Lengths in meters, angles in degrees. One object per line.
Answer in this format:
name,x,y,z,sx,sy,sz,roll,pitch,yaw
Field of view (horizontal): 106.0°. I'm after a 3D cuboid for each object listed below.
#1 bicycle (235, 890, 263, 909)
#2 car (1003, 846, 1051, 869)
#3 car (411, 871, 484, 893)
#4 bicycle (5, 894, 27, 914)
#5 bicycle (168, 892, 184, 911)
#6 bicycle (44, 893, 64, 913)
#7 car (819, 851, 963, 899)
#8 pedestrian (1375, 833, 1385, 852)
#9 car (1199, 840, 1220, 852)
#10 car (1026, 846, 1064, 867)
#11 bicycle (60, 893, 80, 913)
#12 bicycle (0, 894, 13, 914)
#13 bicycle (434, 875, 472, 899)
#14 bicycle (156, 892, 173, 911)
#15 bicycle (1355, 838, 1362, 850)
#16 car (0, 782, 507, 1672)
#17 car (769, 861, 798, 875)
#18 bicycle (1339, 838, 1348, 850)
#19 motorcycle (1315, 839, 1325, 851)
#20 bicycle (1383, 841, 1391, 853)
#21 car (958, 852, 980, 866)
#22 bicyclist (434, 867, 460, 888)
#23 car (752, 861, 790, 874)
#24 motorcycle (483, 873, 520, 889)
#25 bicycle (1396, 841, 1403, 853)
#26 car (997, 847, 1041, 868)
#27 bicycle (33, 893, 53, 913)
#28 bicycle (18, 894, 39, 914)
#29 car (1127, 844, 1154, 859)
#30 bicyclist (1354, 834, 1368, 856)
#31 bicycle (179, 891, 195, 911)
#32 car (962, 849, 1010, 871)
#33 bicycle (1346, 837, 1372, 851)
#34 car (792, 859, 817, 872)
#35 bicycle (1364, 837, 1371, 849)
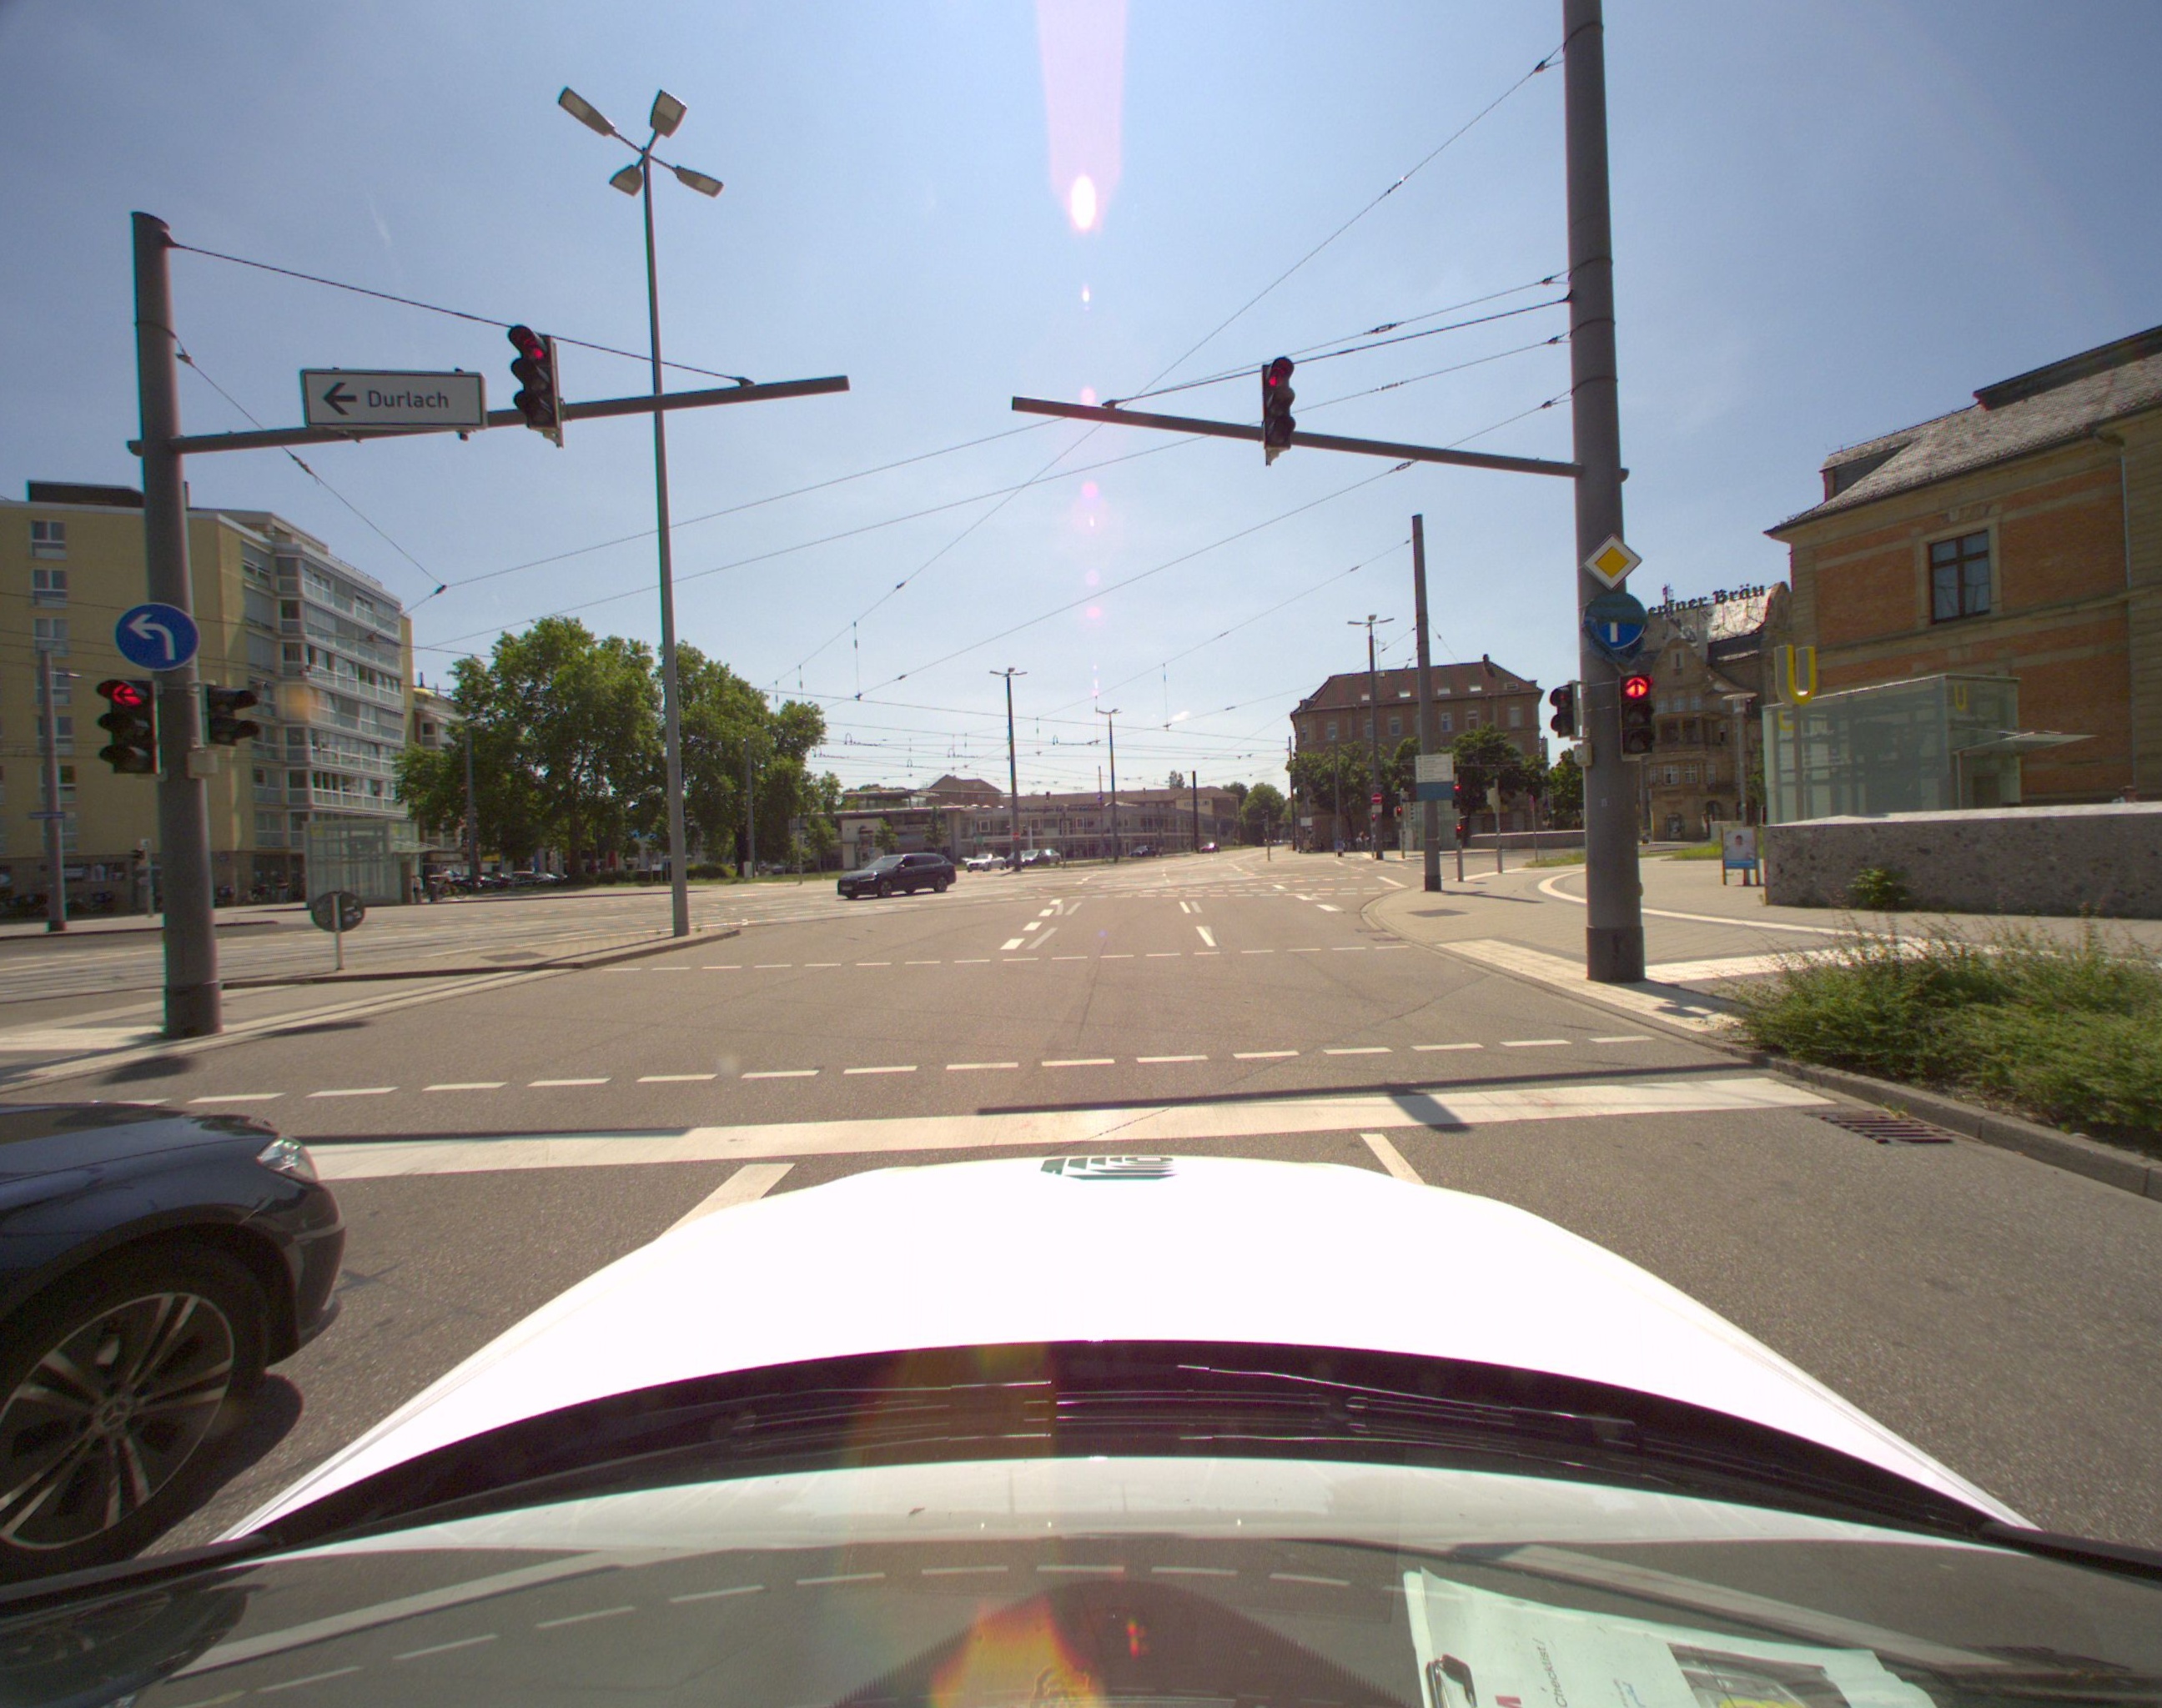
bicycle,-49.285,2.669,48.266,0.432,1.026,1.437,-2,0,-14
car,-4.248,0.223,64.836,1.977,1.637,4.870,-2,0,19
car,-49.215,2.175,63.342,3.995,1.420,1.989,-2,0,-16
bicycle,-57.868,2.697,44.264,0.435,1.026,1.426,-2,0,-42
bicycle,-51.235,2.665,46.103,0.435,1.026,1.426,-2,0,-42
bicycle,-56.419,2.691,44.733,0.435,1.026,1.426,-2,0,-42
car,-6.739,0.701,29.353,1.974,1.465,4.877,-2,0,36
pedestrian,26.322,-0.998,71.796,0.462,1.708,0.636,-2,0,-20
car,19.096,-1.176,120.967,1.975,1.776,4.024,-1,-1,27
car,-3.338,0.209,77.162,1.977,1.739,4.565,-2,0,19
bicycle,-55.921,2.690,45.054,0.435,1.026,1.426,-2,0,-42
bicycle,-58.468,2.700,44.113,0.435,1.026,1.426,-2,0,-42
bicycle,-35.222,1.854,45.699,1.508,1.216,0.713,-2,0,-16
bicycle,-51.699,2.667,45.934,0.435,1.026,1.426,-2,0,-42
bicycle,26.709,-1.011,78.323,0.546,1.120,1.829,-2,0,19
car,-2.948,0.707,0.364,1.790,1.640,4.808,-1,0,2
car,-37.430,1.771,102.637,1.760,1.510,4.330,-2,0,3
bicycle,25.501,-0.988,79.090,0.440,1.146,2.099,0,-1,9
motorcycle,23.149,-0.867,78.800,0.577,1.074,1.949,-2,0,6
bicycle,29.431,-0.669,78.310,0.546,1.120,1.879,-2,0,18
car,-13.838,0.580,100.630,1.913,1.707,4.002,0,-1,2
bicyclist,-35.515,1.321,45.621,0.927,1.142,0.713,-2,0,-15
car,-41.225,1.794,108.281,4.343,1.510,1.754,-3,0,-33
motorcycle,-39.377,1.851,55.361,1.925,0.961,0.521,-2,0,-29
bicycle,30.546,-0.663,78.136,0.546,1.120,1.938,-2,0,18
car,-5.338,0.276,70.694,1.977,1.700,4.870,-2,0,19
bicycle,-56.925,2.694,44.659,0.435,1.026,1.426,-2,0,-42
bicycle,-57.413,2.695,44.423,0.435,1.026,1.426,-2,0,-42
car,7.434,-0.355,101.434,2.061,1.682,4.870,-2,0,19
bicyclist,23.669,-0.746,68.843,1.065,1.808,0.475,0,-1,-23
bicycle,-50.812,2.664,46.291,0.435,1.026,1.426,-2,0,-42
car,-7.492,0.435,64.601,2.061,1.580,4.866,-2,0,15
bicycle,23.506,-0.864,68.841,2.115,1.052,0.687,-2,0,-23
car,-34.748,1.474,102.336,1.763,1.510,4.322,-2,0,-3
bicycle,27.442,-1.024,78.127,0.546,1.120,1.829,-2,0,18
